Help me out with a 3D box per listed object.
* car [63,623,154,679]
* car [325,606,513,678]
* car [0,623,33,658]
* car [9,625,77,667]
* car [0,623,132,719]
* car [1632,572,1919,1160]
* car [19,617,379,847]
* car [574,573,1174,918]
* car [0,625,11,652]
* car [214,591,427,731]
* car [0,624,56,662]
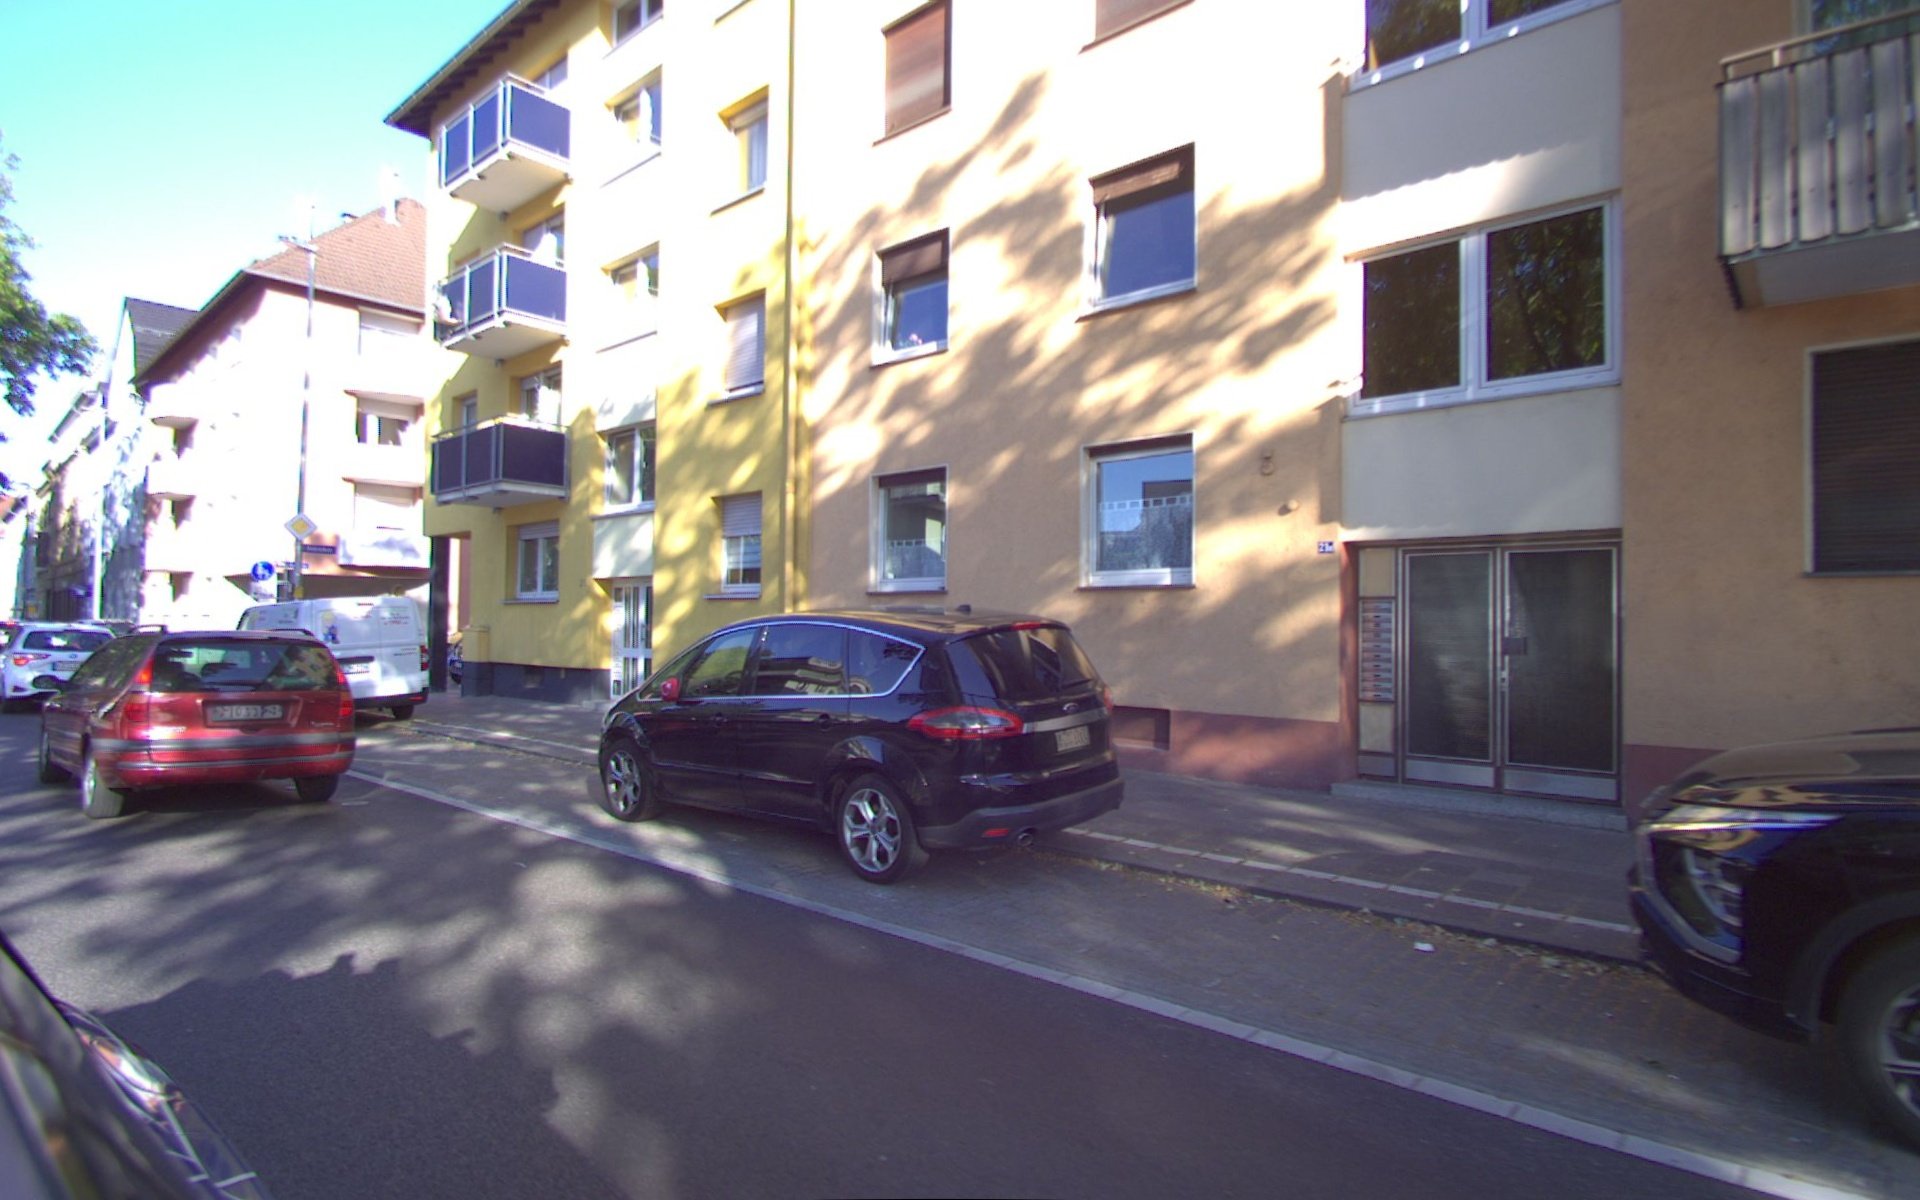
[{"bbox_3d":[-25.131,1.449,29.825,4.022,1.535,1.659,-1,-1,44],"label":"car"},{"bbox_3d":[-16.509,1.282,31.048,1.920,2.029,4.694,-1,-3,44],"label":"car"},{"bbox_3d":[-46.752,1.957,49.412,4.578,1.654,1.887,-1,-1,44],"label":"car"},{"bbox_3d":[-34.691,1.702,38.267,3.602,1.497,1.659,-1,-1,44],"label":"car"},{"bbox_3d":[-16.160,1.178,18.006,3.933,1.535,1.622,-1,-2,42],"label":"car"},{"bbox_3d":[4.363,0.722,2.413,4.411,1.653,1.579,-1,-1,42],"label":"car"},{"bbox_3d":[-6.831,0.967,8.887,4.410,1.535,1.646,-1,-4,42],"label":"car"},{"bbox_3d":[-0.887,0.800,7.449,4.546,1.801,1.727,-1,-1,41],"label":"car"},{"bbox_3d":[-54.678,2.172,56.964,3.872,1.508,1.659,-1,-1,44],"label":"car"},{"bbox_3d":[-10.434,0.891,16.317,5.210,1.921,1.715,-1,-2,44],"label":"car"},{"bbox_3d":[-42.347,1.910,45.907,3.985,1.654,1.659,-1,-1,44],"label":"car"}]
